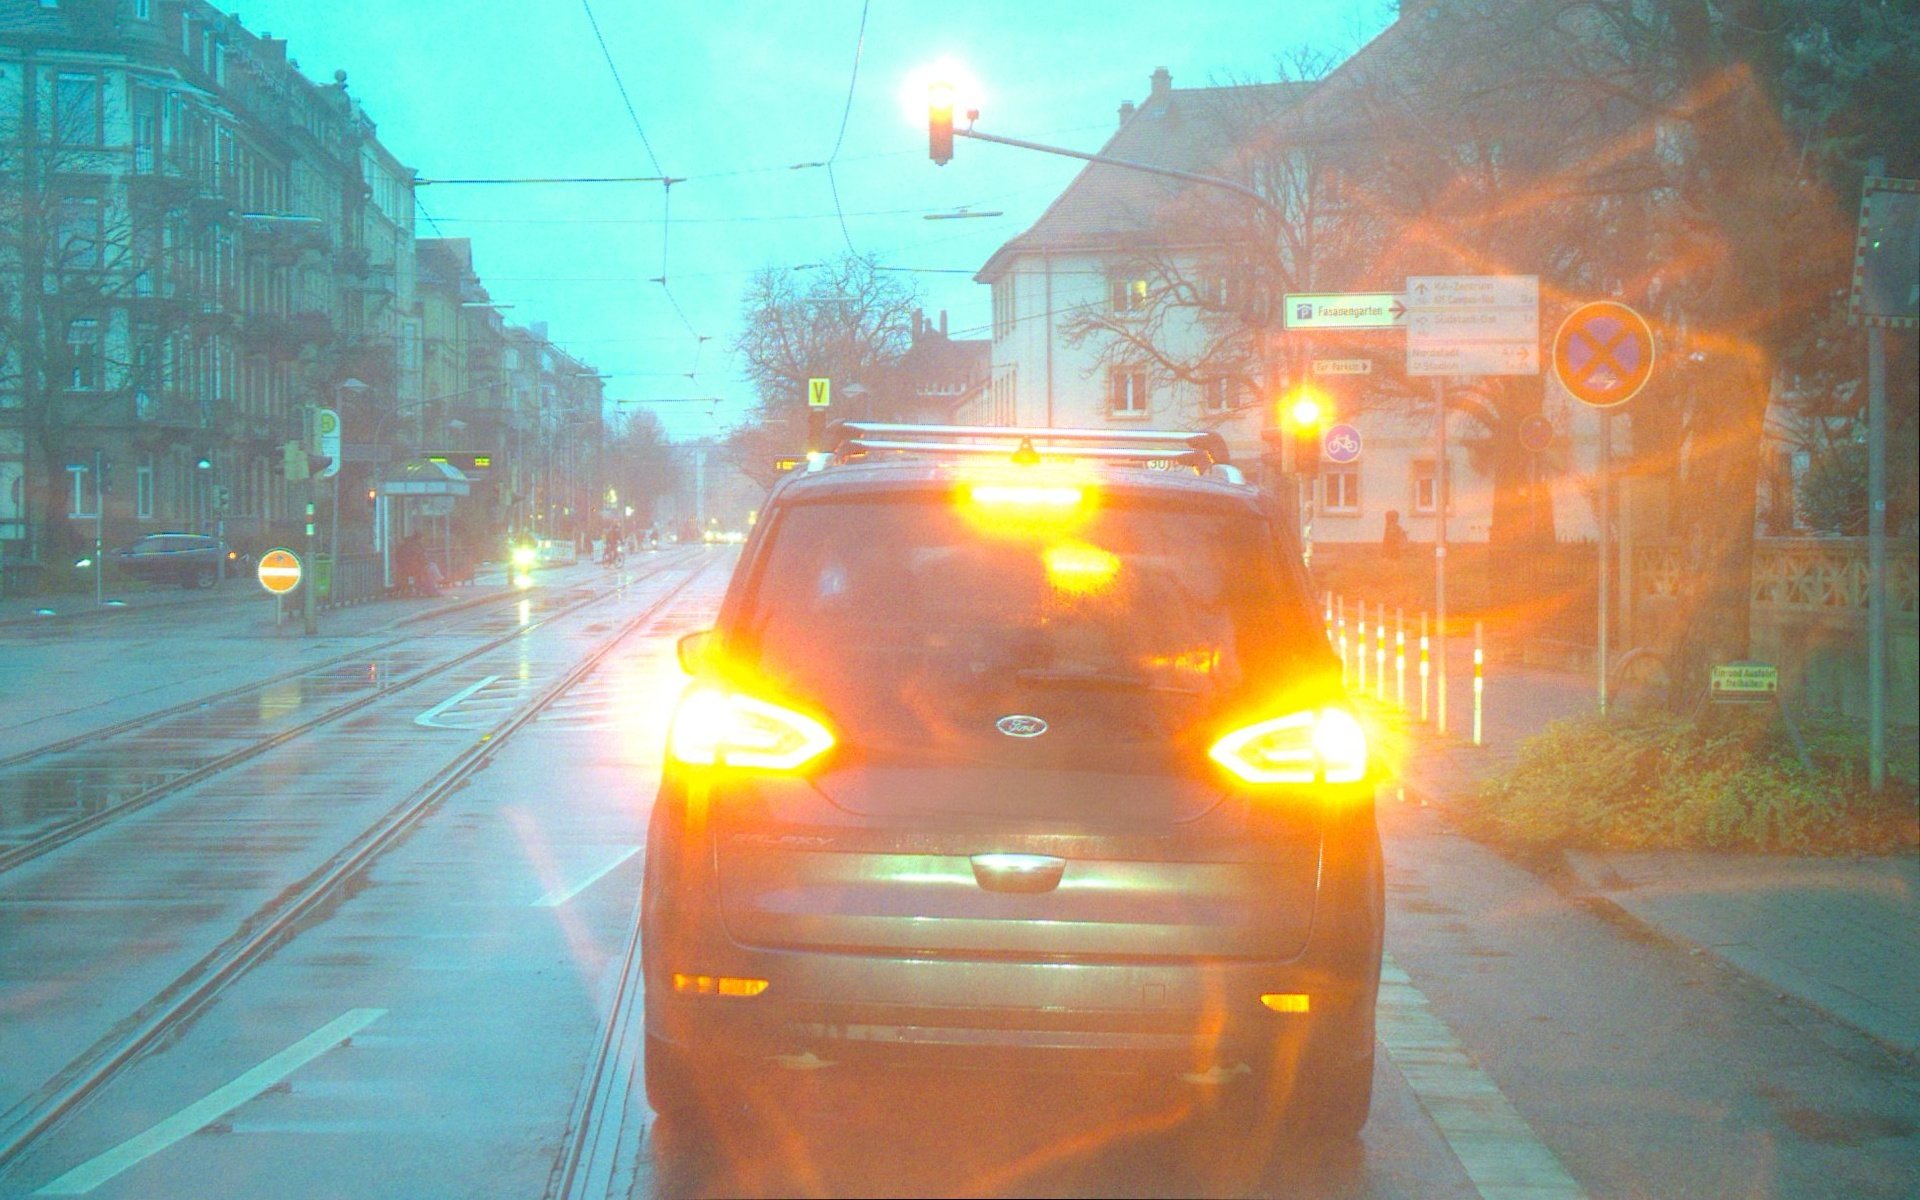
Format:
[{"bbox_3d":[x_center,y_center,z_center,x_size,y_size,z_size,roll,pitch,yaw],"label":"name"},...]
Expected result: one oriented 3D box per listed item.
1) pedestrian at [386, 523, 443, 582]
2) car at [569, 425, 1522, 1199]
[{"bbox_3d":[-11.240,-0.974,70.910,1.047,1.196,0.885,1,0,-2],"label":"pedestrian"},{"bbox_3d":[0.150,0.489,10.096,2.103,1.810,4.661,2,1,-1],"label":"car"}]
